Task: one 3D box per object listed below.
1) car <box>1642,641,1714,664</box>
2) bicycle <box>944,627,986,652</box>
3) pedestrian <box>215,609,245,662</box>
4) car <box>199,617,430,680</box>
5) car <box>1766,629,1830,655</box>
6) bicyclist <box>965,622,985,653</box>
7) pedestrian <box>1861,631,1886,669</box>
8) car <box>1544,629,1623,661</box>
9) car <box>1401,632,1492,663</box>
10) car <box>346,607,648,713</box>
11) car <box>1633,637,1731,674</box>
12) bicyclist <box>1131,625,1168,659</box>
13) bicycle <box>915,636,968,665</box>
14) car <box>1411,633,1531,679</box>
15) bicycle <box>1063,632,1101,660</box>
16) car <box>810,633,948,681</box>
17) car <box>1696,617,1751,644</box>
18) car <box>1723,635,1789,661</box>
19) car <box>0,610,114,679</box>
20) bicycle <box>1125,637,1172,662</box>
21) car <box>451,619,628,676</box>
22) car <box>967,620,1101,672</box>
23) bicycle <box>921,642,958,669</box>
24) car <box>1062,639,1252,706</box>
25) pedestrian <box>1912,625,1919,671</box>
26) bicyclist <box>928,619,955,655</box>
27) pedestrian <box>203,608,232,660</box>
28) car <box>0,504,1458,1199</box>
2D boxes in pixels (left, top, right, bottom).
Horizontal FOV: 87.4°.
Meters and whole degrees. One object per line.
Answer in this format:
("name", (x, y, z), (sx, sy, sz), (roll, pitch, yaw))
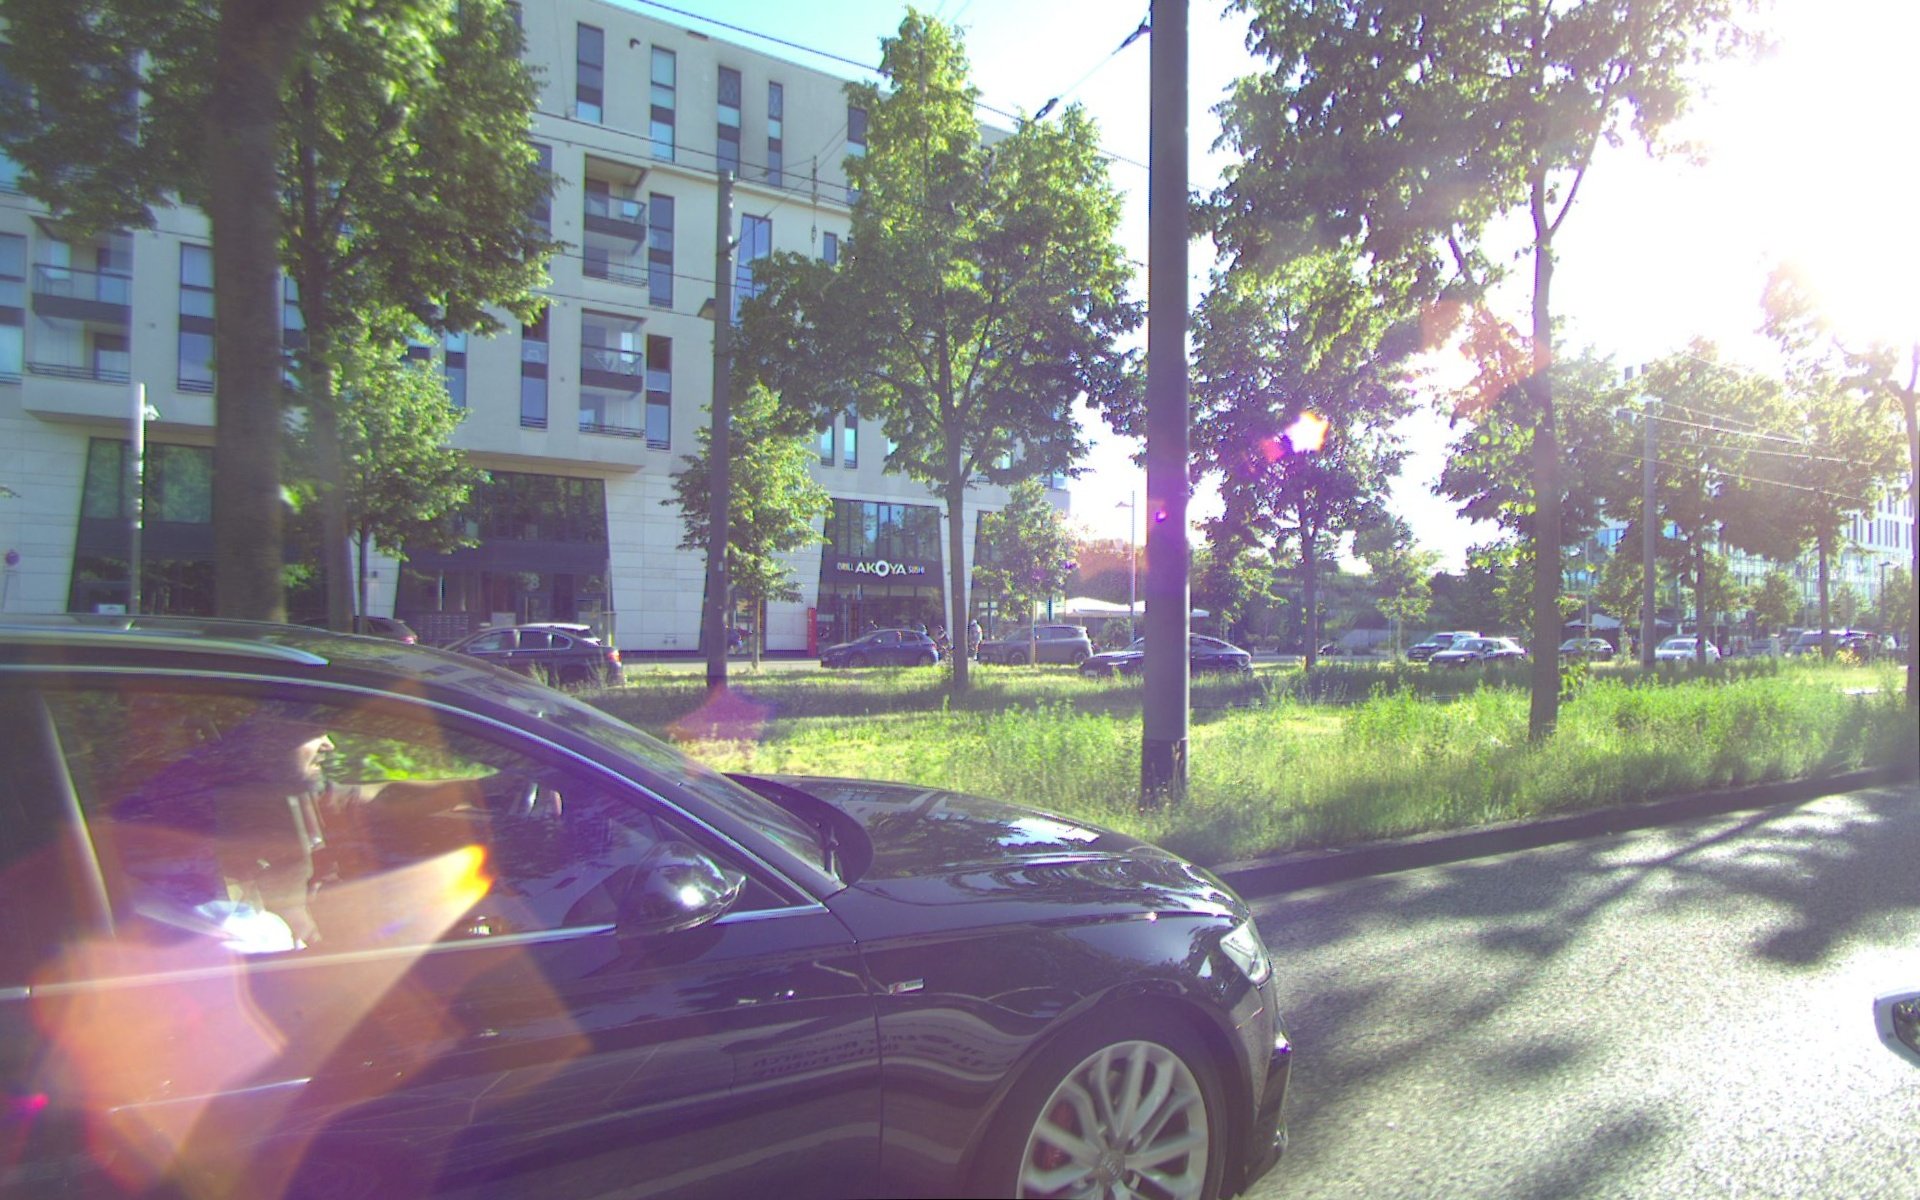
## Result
("car", (44.952, 3.295, 62.887), (4.556, 1.343, 1.904), (2, 0, -30))
("bicycle", (0.231, 1.668, 42.107), (1.778, 1.030, 0.377), (2, 0, -29))
("pedestrian", (-23.609, 1.140, 32.504), (0.712, 1.673, 0.632), (2, 0, -33))
("car", (-16.676, 1.257, 26.206), (4.884, 1.460, 1.982), (2, 0, -33))
("car", (59.488, 2.954, 71.259), (4.556, 1.694, 1.984), (2, 0, -30))
("bicyclist", (0.640, 1.581, 42.338), (0.710, 1.320, 0.366), (2, 0, -29))
("pedestrian", (37.958, 2.088, 41.740), (0.580, 1.538, 0.548), (2, 0, -25))
("car", (35.630, 2.568, 57.374), (4.556, 1.642, 1.871), (2, 0, -30))
("car", (24.450, 2.366, 50.409), (4.555, 1.453, 1.871), (1, -1, -30))
("car", (-9.039, 1.121, 19.865), (5.189, 1.865, 1.984), (1, -1, -31))
("car", (32.600, 2.482, 45.359), (4.114, 1.592, 1.986), (1, -1, -28))
("bicyclist", (8.212, 1.835, 43.555), (1.641, 1.424, 0.486), (2, 0, -31))
("bicycle", (-0.817, 2.206, 43.644), (2.215, 1.214, 0.729), (2, 0, -32))
("car", (19.032, 2.082, 37.356), (4.269, 1.548, 1.984), (2, 0, -31))
("bicycle", (5.777, 2.191, 47.558), (1.819, 1.269, 0.585), (2, 0, -31))
("car", (-2.738, 1.907, 34.034), (4.215, 1.460, 1.948), (2, 0, -30))
("car", (62.676, 2.474, 82.433), (4.509, 2.040, 1.984), (2, 0, -30))
("car", (54.230, 3.278, 68.412), (4.556, 1.630, 1.984), (2, 0, -30))
("car", (-22.079, 0.965, 22.576), (4.408, 1.460, 1.982), (2, 0, -33))
("bicycle", (8.180, 2.157, 43.536), (2.163, 1.014, 0.494), (2, 0, -31))
("car", (-12.020, 1.348, 28.782), (4.408, 1.460, 1.982), (2, 0, -33))
("car", (2.774, 1.707, 37.448), (4.725, 1.795, 1.982), (2, 0, -33))
("bicycle", (-0.826, 2.251, 40.699), (1.466, 1.030, 0.428), (2, 0, -29))
("car", (4.945, 1.780, 25.153), (4.400, 1.460, 1.985), (2, 0, -28))
("pedestrian", (39.841, 1.999, 41.313), (0.718, 1.860, 0.816), (2, 0, -32))
("bicyclist", (-0.745, 1.496, 40.727), (0.944, 1.438, 0.428), (2, 0, -29))
("pedestrian", (-24.380, 1.115, 32.980), (0.713, 1.673, 0.631), (2, 0, -38))
("car", (-1.330, 0.658, 2.083), (5.029, 1.500, 1.942), (1, -1, -33))
